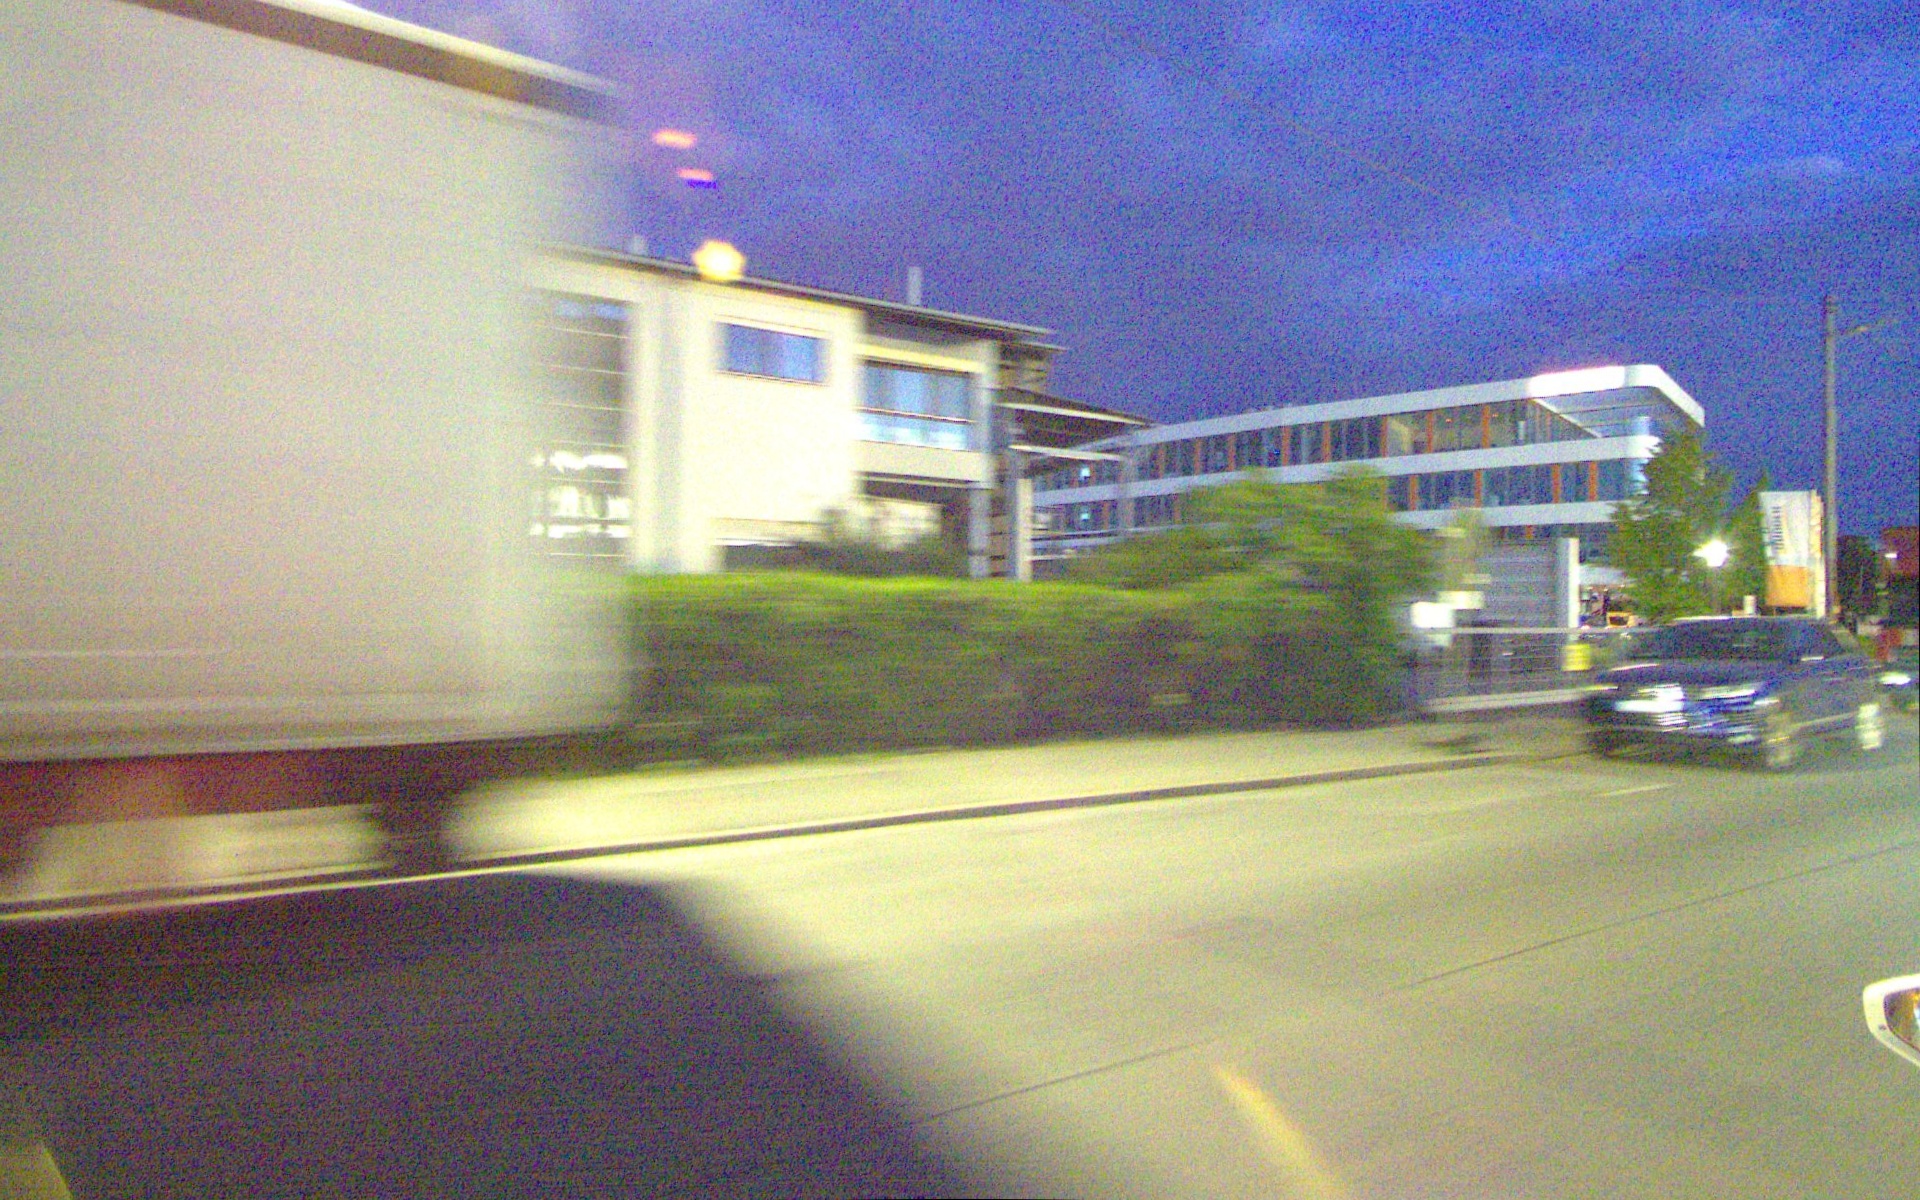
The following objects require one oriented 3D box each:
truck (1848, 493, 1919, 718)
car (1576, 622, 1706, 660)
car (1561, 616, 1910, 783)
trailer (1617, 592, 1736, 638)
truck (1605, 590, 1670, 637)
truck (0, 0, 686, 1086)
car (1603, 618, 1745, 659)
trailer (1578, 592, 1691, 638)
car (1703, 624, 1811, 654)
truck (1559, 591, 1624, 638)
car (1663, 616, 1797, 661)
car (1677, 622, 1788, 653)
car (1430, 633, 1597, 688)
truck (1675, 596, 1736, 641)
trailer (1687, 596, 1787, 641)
[{"bbox_3d":[21.725,0.185,21.059,9.251,4.175,2.753,1,-1,-36],"label":"truck"},{"bbox_3d":[29.056,1.718,42.944,1.816,1.472,4.360,2,-1,-45],"label":"car"},{"bbox_3d":[9.888,1.100,12.680,5.142,1.740,1.932,1,-1,-33],"label":"car"},{"bbox_3d":[69.976,1.483,97.952,14.812,4.204,3.046,1,0,-28],"label":"trailer"},{"bbox_3d":[63.898,1.274,94.777,4.873,4.204,3.046,1,0,-27],"label":"truck"},{"bbox_3d":[-5.934,-0.536,3.064,9.450,4.087,2.733,1,-1,-31],"label":"truck"},{"bbox_3d":[28.377,1.490,39.994,1.880,1.502,4.360,2,-1,-45],"label":"car"},{"bbox_3d":[68.459,1.576,101.749,14.819,4.415,3.045,1,0,-29],"label":"trailer"},{"bbox_3d":[42.595,2.048,53.756,1.839,1.498,4.360,2,-1,-45],"label":"car"},{"bbox_3d":[61.514,1.384,97.882,5.498,4.415,3.045,1,0,-29],"label":"truck"},{"bbox_3d":[34.275,1.667,44.776,1.950,1.840,4.561,1,-1,-45],"label":"car"},{"bbox_3d":[38.570,1.859,50.217,1.816,1.412,4.223,2,-1,-45],"label":"car"},{"bbox_3d":[16.372,1.746,29.832,1.852,1.443,3.984,1,-2,-43],"label":"car"},{"bbox_3d":[67.553,1.686,91.016,4.457,3.985,3.038,1,0,-34],"label":"truck"},{"bbox_3d":[73.969,1.836,95.426,14.849,3.985,3.039,1,0,-35],"label":"trailer"}]
